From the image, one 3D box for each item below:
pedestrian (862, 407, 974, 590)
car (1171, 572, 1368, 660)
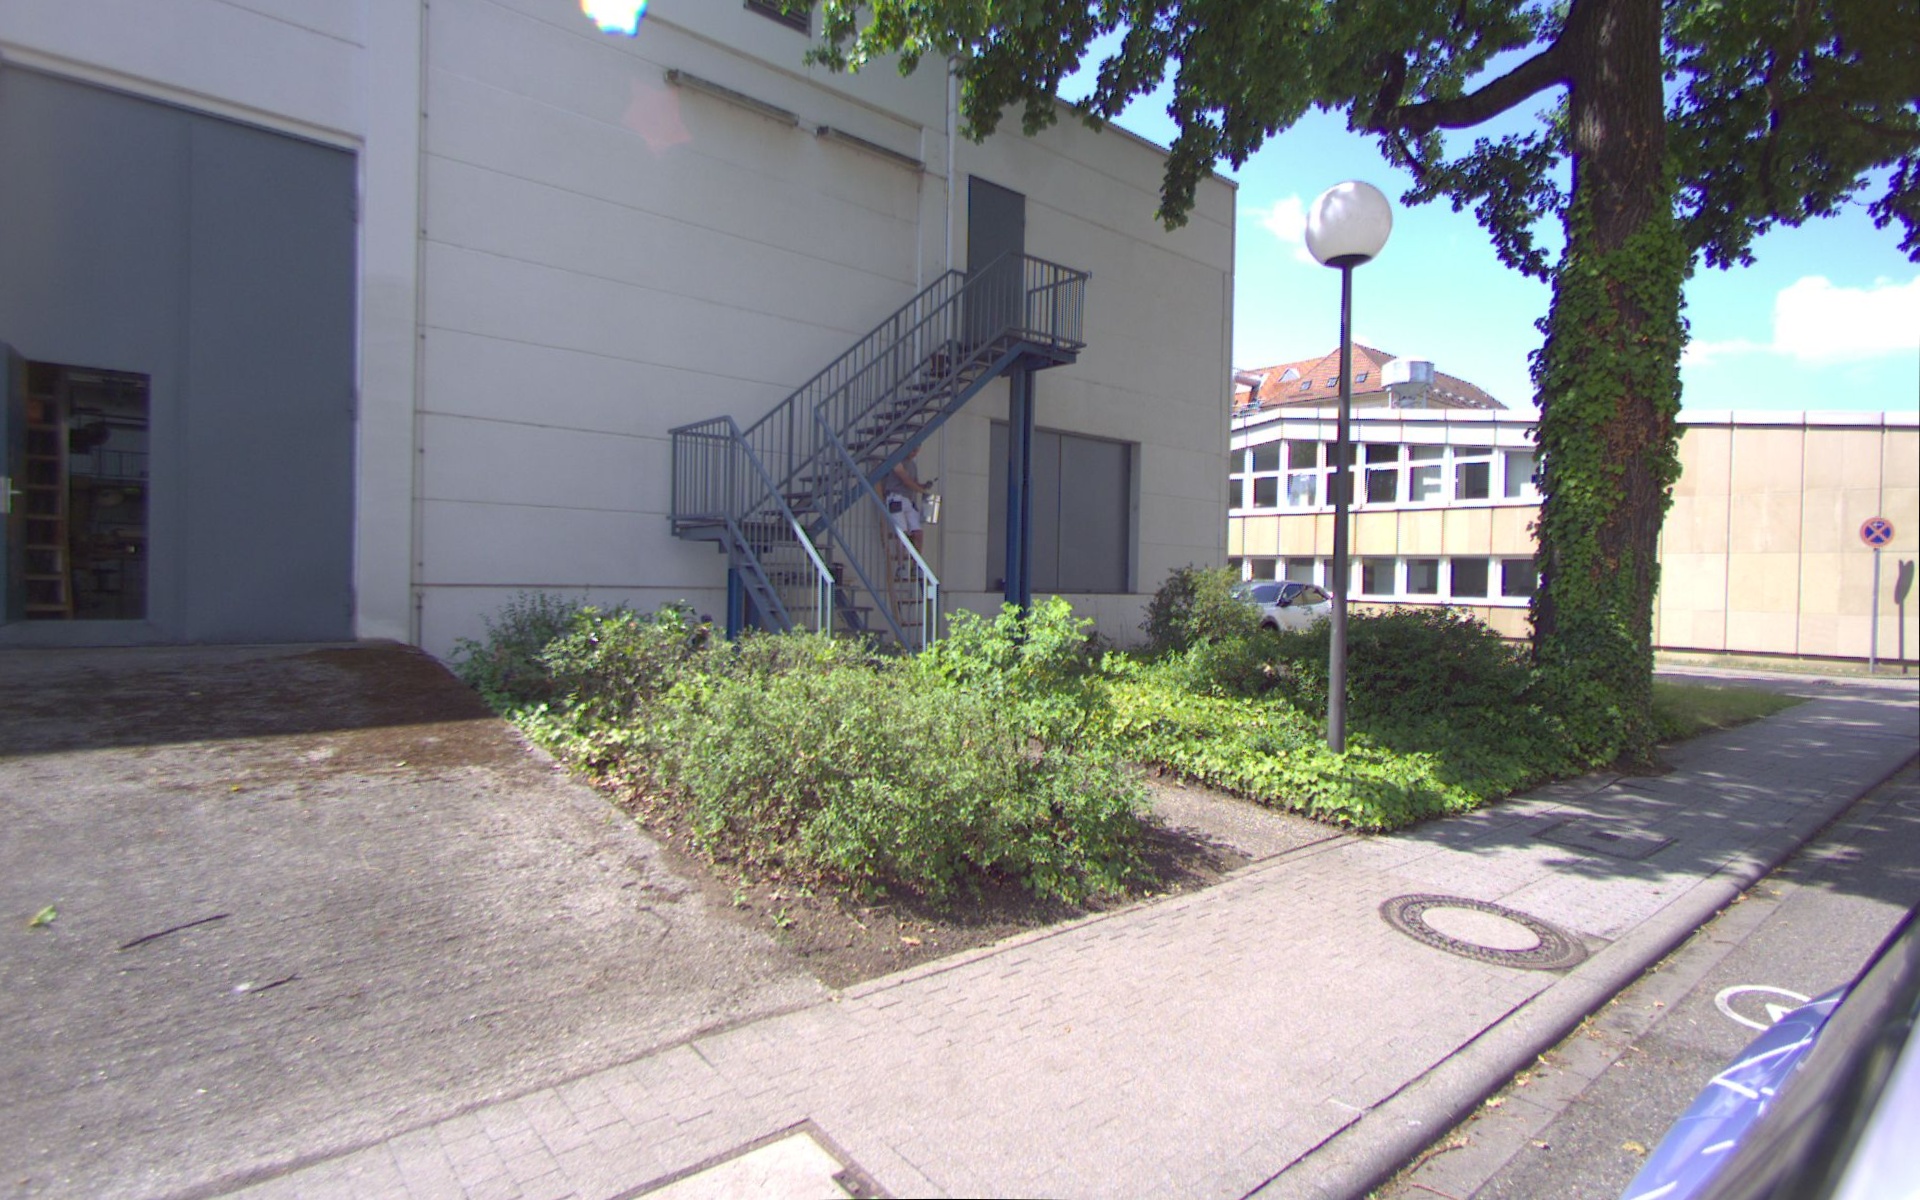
[{"bbox_3d":[-0.501,-1.158,12.022,0.932,2.038,0.930,1,1,-37],"label":"pedestrian"},{"bbox_3d":[5.985,0.254,19.371,4.108,1.495,1.670,0,2,-41],"label":"car"}]
